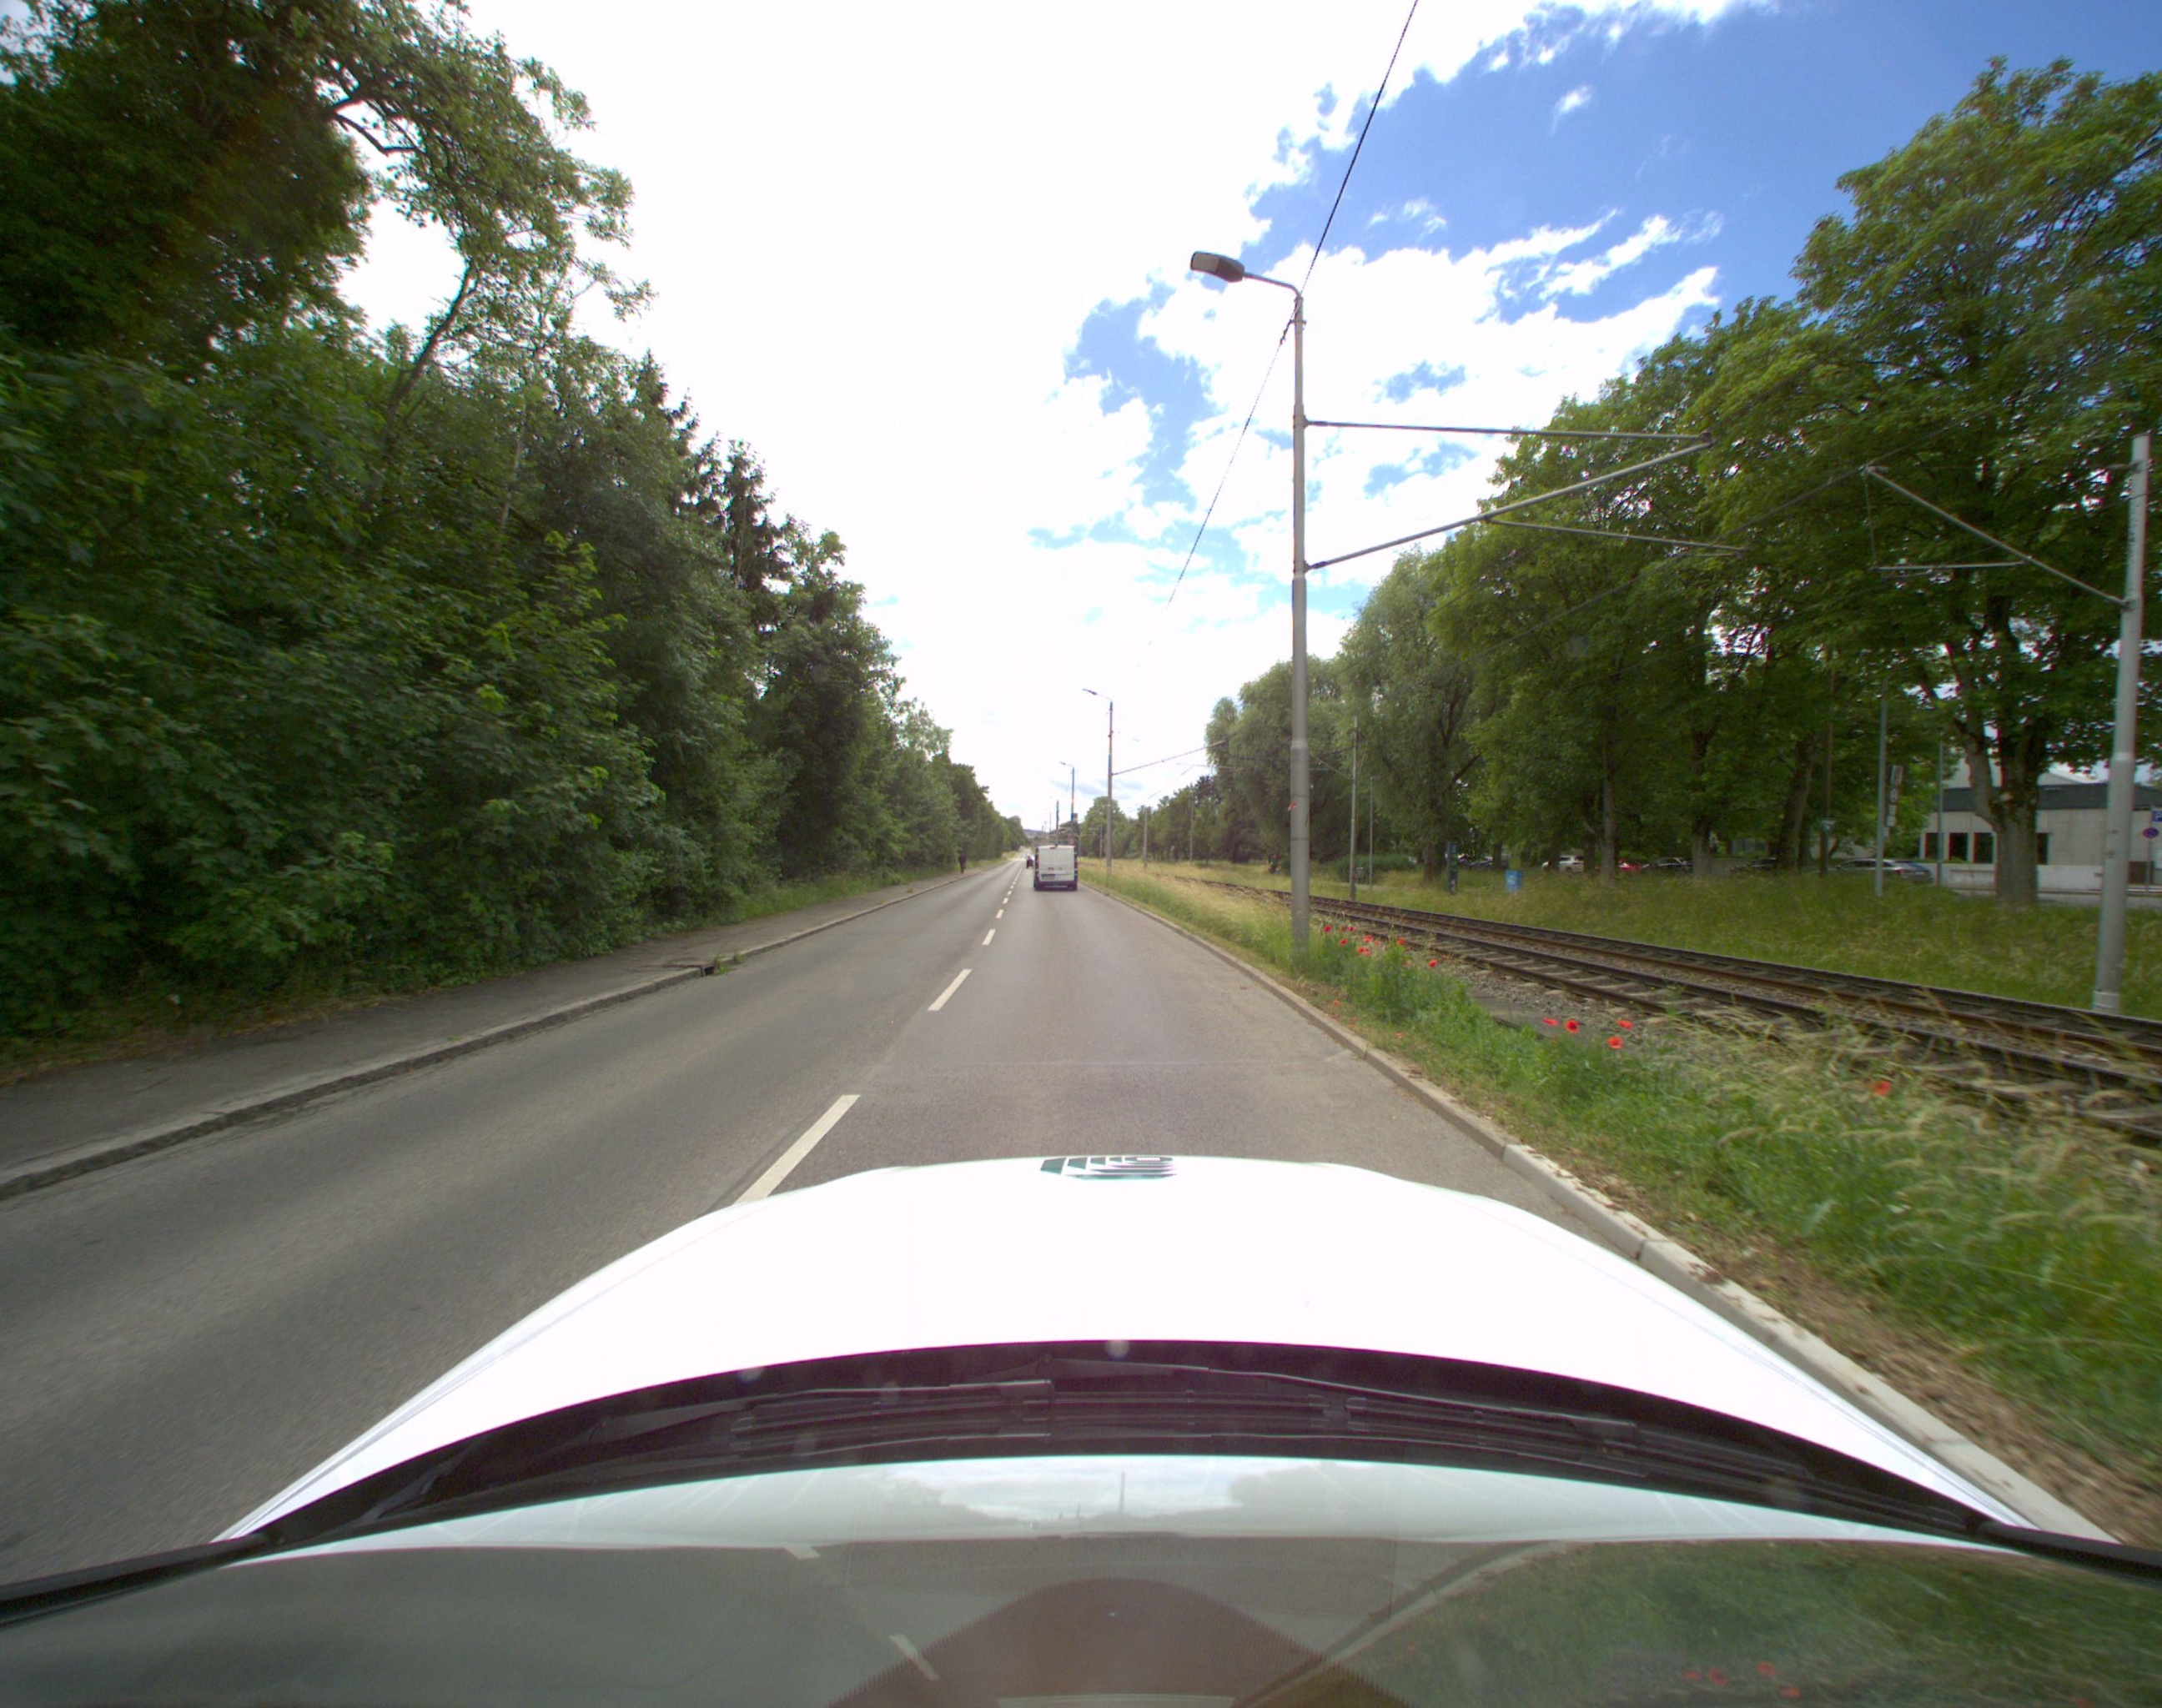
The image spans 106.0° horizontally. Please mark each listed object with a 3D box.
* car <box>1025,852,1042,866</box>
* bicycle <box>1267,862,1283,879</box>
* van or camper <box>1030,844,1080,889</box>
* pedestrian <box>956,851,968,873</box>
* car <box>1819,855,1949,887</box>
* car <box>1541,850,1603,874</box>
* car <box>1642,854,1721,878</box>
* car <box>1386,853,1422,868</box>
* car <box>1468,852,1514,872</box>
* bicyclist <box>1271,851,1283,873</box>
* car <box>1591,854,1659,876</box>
[{"bbox_3d":[-5.909,0.619,101.382,1.990,1.593,3.994,1,0,-4],"label":"car"},{"bbox_3d":[14.834,1.278,62.344,0.580,1.246,1.924,0,0,-7],"label":"bicycle"},{"bbox_3d":[-1.235,0.540,36.624,1.940,1.897,4.275,-1,0,-6],"label":"van or camper"},{"bbox_3d":[-9.666,0.617,66.065,0.867,1.769,0.787,-2,1,-8],"label":"pedestrian"},{"bbox_3d":[39.284,0.787,40.005,1.989,1.442,4.340,1,0,-4],"label":"car"},{"bbox_3d":[37.808,0.608,62.837,1.989,1.700,4.224,2,0,-3],"label":"car"},{"bbox_3d":[38.372,0.763,52.153,1.989,1.442,3.995,1,0,-4],"label":"car"},{"bbox_3d":[40.983,0.853,103.437,2.005,1.812,3.963,1,0,-29],"label":"car"},{"bbox_3d":[37.102,0.740,73.815,1.988,1.700,3.997,2,0,-2],"label":"car"},{"bbox_3d":[14.966,0.589,62.346,0.580,1.696,0.933,1,0,-7],"label":"bicyclist"},{"bbox_3d":[38.118,0.739,57.178,1.989,1.442,3.995,1,0,-4],"label":"car"}]
